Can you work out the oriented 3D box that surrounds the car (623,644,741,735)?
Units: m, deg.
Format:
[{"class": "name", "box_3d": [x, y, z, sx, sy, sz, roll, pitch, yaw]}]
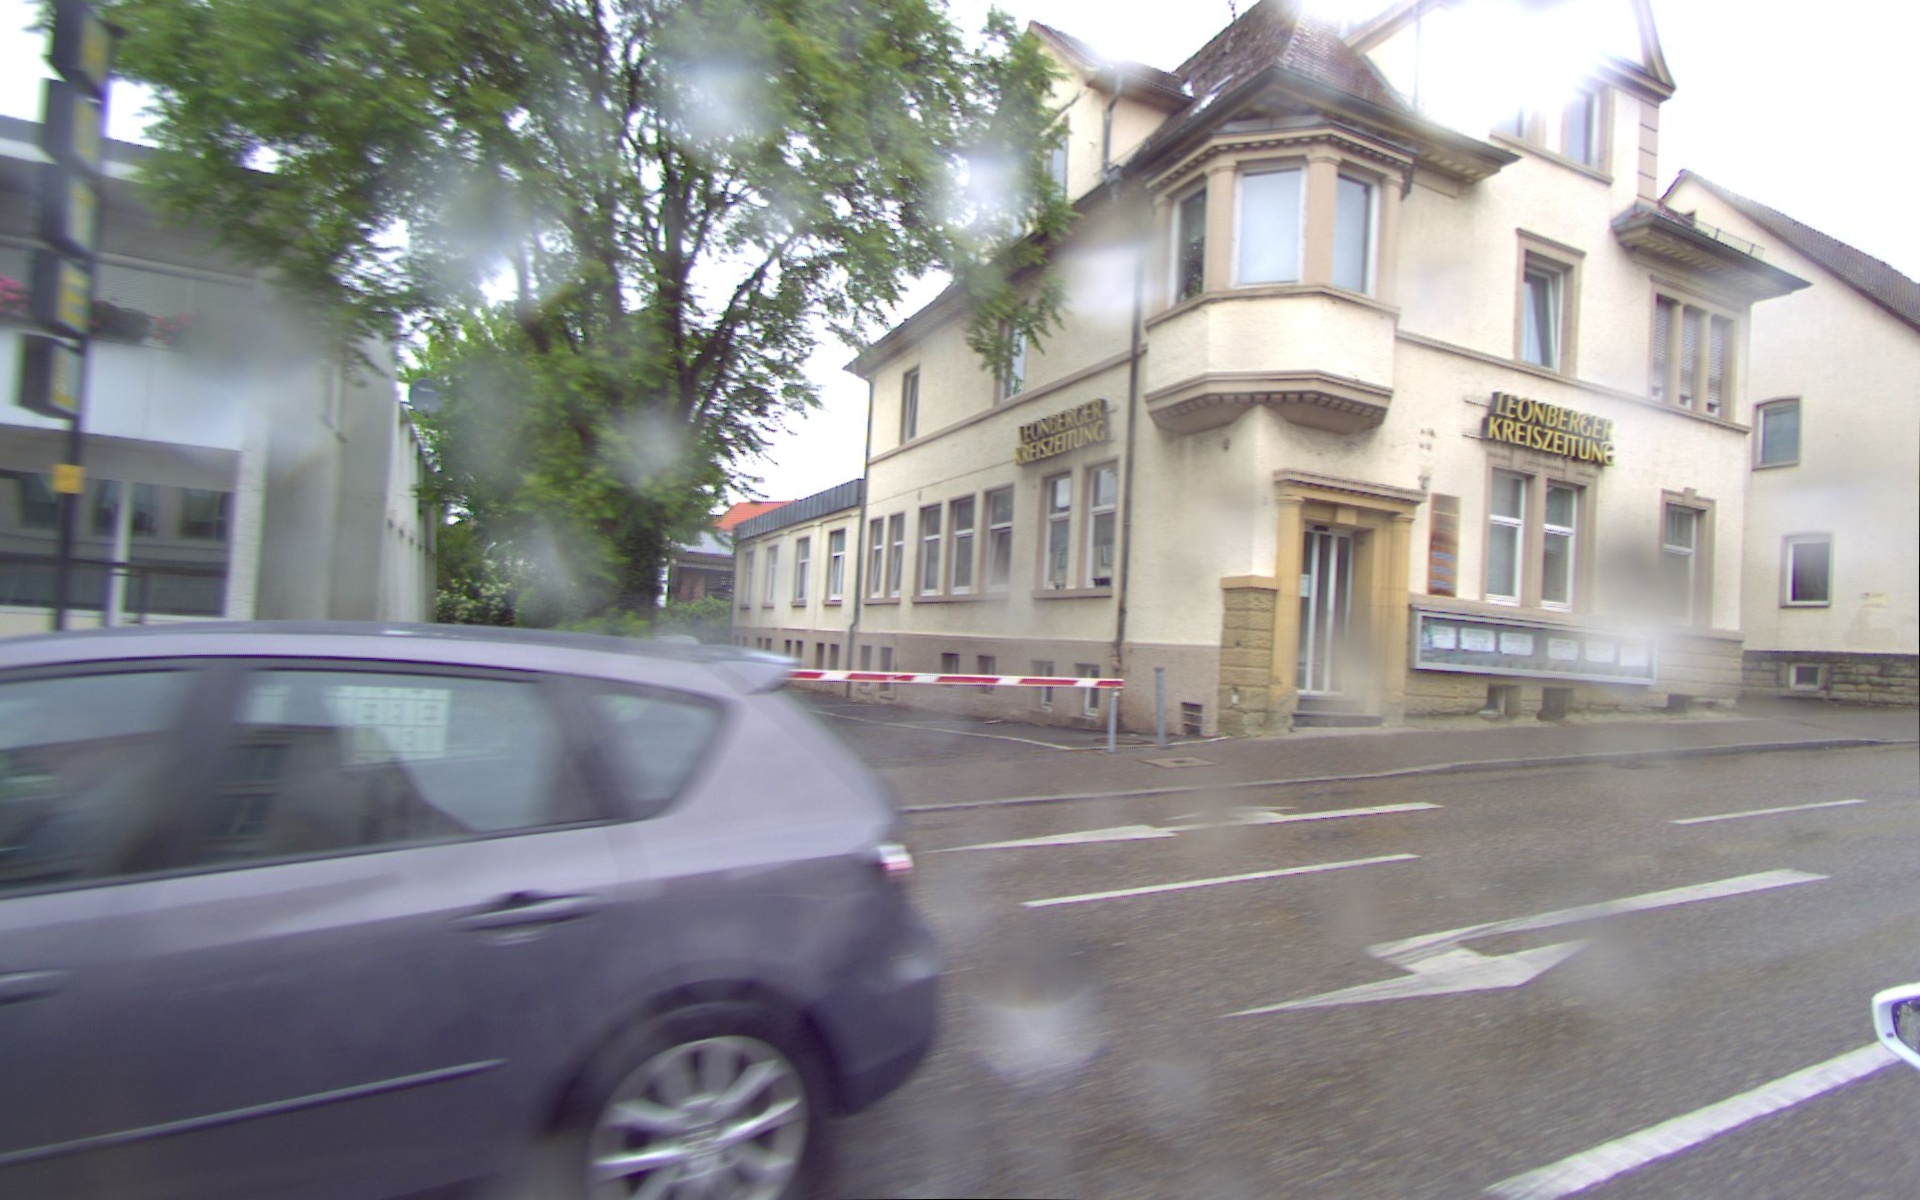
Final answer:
[{"class": "car", "box_3d": [-4.905, 1.495, 17.622, 1.757, 1.387, 3.987, 1, -3, -17]}]

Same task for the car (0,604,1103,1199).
[{"class": "car", "box_3d": [-2.094, 0.742, 2.387, 4.627, 1.458, 1.793, 2, -1, -26]}]
